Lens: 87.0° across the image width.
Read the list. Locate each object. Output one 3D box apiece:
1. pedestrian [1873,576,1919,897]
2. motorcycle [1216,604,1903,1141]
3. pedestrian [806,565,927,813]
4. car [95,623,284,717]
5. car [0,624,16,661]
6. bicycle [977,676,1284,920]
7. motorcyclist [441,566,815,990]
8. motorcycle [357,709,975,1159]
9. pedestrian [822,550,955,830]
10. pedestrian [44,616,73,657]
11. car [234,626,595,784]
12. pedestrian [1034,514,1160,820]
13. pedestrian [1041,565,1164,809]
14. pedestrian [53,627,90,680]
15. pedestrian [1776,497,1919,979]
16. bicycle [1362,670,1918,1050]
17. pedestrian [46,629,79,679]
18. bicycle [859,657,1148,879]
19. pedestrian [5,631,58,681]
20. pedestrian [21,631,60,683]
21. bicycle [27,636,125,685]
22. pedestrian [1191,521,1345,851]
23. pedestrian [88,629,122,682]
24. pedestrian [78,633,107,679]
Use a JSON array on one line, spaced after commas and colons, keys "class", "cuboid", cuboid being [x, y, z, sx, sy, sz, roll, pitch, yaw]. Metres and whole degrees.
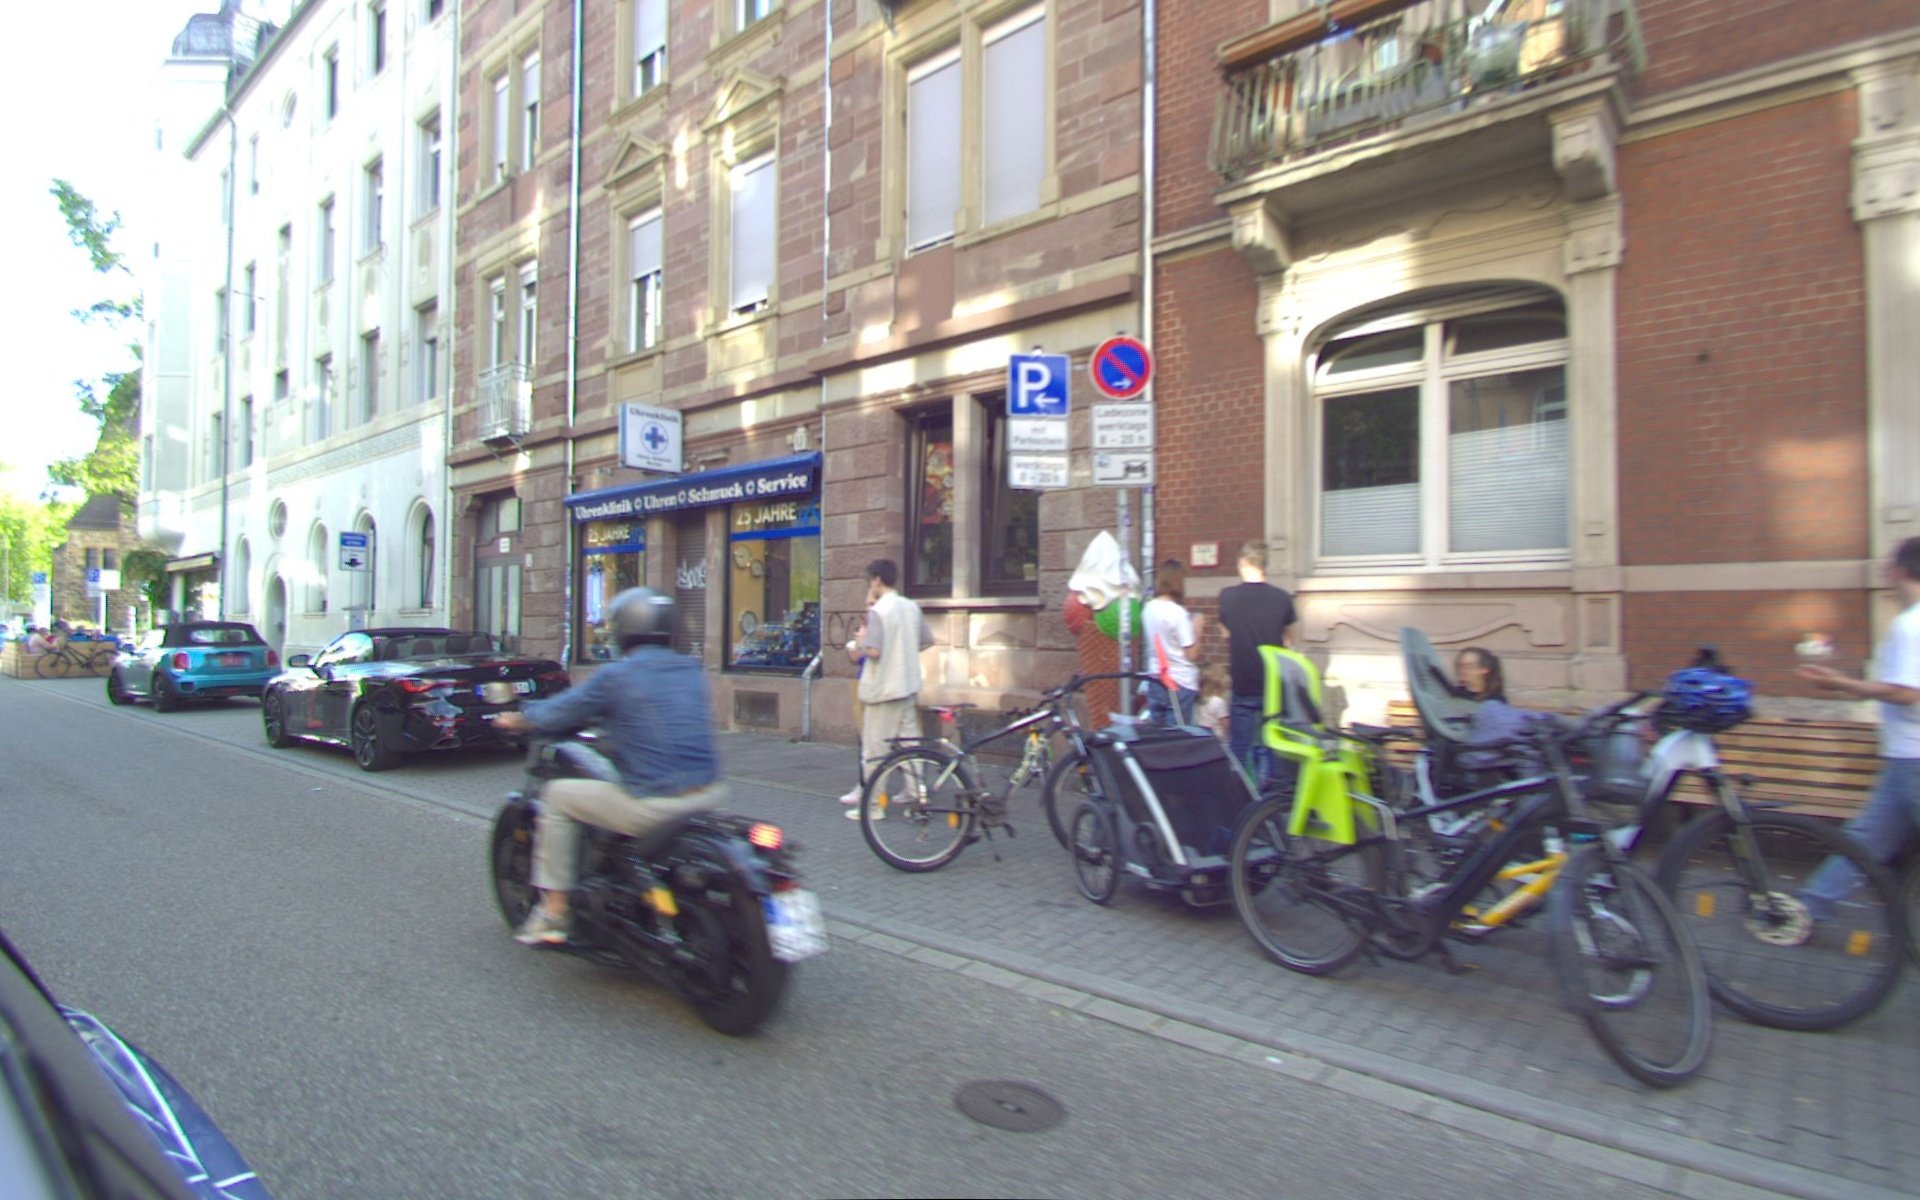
[{"class": "pedestrian", "cuboid": [4.792, 0.625, 4.684, 0.597, 1.481, 0.727, 0, -1, -38]}, {"class": "motorcycle", "cuboid": [1.962, 0.731, 3.689, 0.697, 1.395, 2.029, 0, -1, -34]}, {"class": "pedestrian", "cuboid": [-0.723, 0.639, 7.693, 0.750, 1.773, 0.668, -1, -1, -19]}, {"class": "car", "cuboid": [-13.382, 1.126, 17.515, 4.006, 1.426, 1.654, -1, -1, 38]}, {"class": "car", "cuboid": [-40.354, 1.754, 41.669, 4.168, 1.497, 1.804, -1, -1, 41]}, {"class": "bicycle", "cuboid": [0.917, 0.956, 5.248, 1.658, 1.038, 0.410, 0, -1, -28]}, {"class": "motorcyclist", "cuboid": [-1.167, 0.536, 3.649, 0.801, 1.254, 1.004, -1, -1, 35]}, {"class": "motorcycle", "cuboid": [-1.198, 0.989, 3.706, 2.493, 1.003, 0.787, -1, -1, 35]}, {"class": "pedestrian", "cuboid": [-0.512, 0.587, 7.057, 0.750, 1.832, 0.668, -1, -1, -19]}, {"class": "pedestrian", "cuboid": [-38.153, 1.540, 42.829, 0.879, 1.722, 0.834, -1, -1, 41]}, {"class": "car", "cuboid": [-6.188, 0.976, 11.164, 5.112, 1.361, 1.793, -1, -1, 41]}, {"class": "pedestrian", "cuboid": [0.955, 0.448, 7.132, 0.634, 2.029, 0.632, 0, -1, -21]}, {"class": "pedestrian", "cuboid": [1.080, 0.630, 7.781, 0.678, 1.773, 0.668, -1, -1, -19]}, {"class": "pedestrian", "cuboid": [-23.647, 1.412, 26.930, 0.740, 1.383, 0.680, -2, -1, 45]}, {"class": "pedestrian", "cuboid": [3.790, 0.503, 3.824, 0.596, 1.765, 0.947, 0, -1, -36]}, {"class": "bicycle", "cuboid": [2.572, 0.874, 4.053, 0.570, 1.098, 1.742, 0, -1, -36]}, {"class": "pedestrian", "cuboid": [-24.680, 1.476, 27.836, 0.658, 1.346, 0.740, 0, -1, -42]}, {"class": "bicycle", "cuboid": [0.237, 0.906, 5.673, 1.556, 1.125, 0.375, -1, -1, -10]}, {"class": "pedestrian", "cuboid": [-26.313, 1.571, 28.704, 1.073, 1.383, 0.896, 0, -1, -41]}, {"class": "pedestrian", "cuboid": [-24.434, 1.505, 26.902, 0.644, 1.359, 0.729, -2, -1, 44]}, {"class": "bicycle", "cuboid": [-22.852, 1.547, 26.177, 0.688, 1.184, 1.848, -2, -1, 43]}, {"class": "pedestrian", "cuboid": [1.881, 0.496, 6.235, 0.637, 1.906, 0.603, -1, -1, -19]}, {"class": "pedestrian", "cuboid": [-23.125, 1.482, 27.371, 0.684, 1.383, 0.628, -2, -1, 45]}, {"class": "pedestrian", "cuboid": [-24.198, 1.546, 28.226, 0.589, 1.253, 0.694, 0, -1, -42]}]
